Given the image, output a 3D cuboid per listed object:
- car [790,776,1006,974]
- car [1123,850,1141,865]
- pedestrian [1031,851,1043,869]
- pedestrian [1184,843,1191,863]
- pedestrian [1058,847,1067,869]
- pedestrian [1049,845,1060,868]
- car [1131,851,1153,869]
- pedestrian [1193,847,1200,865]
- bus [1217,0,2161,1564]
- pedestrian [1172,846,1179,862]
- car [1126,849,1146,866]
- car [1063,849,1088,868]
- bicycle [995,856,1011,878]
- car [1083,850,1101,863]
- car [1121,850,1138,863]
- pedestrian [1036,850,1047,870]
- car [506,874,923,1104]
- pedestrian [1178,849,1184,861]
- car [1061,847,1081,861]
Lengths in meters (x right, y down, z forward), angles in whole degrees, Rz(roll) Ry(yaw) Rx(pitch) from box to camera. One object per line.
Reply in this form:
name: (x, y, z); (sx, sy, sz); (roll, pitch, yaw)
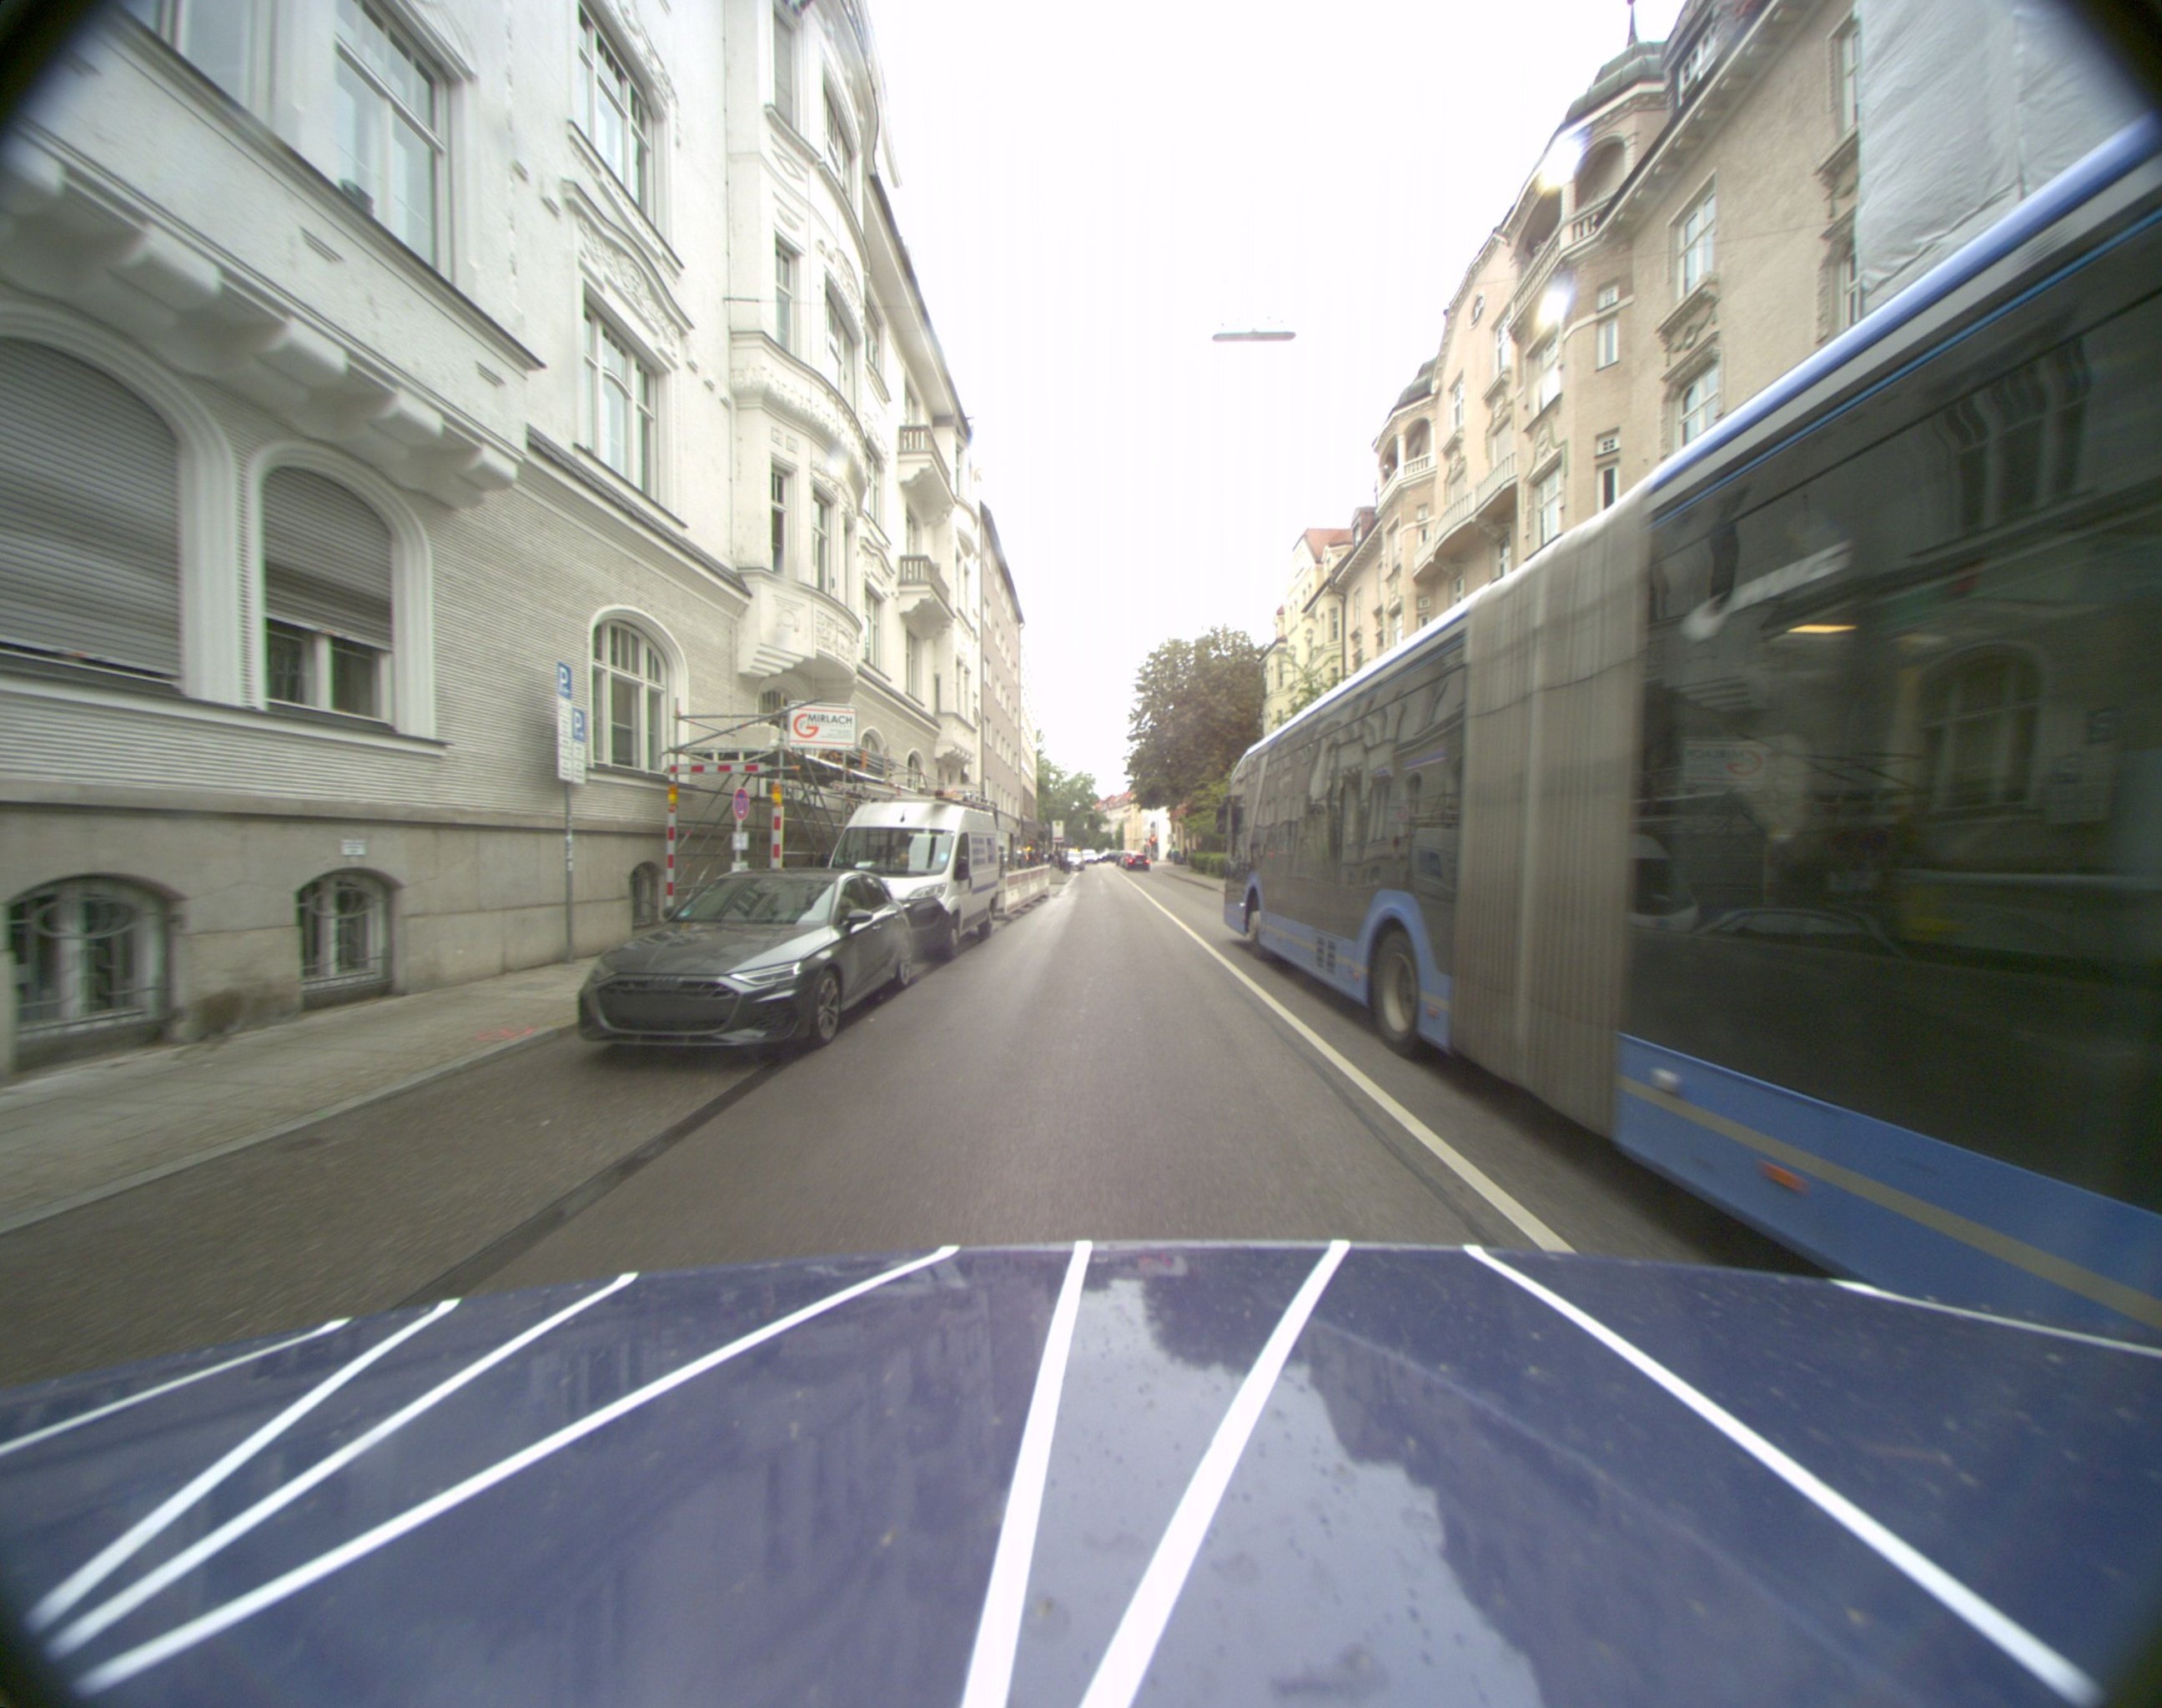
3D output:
car: (-2.786, 0.265, 13.118); (2.081, 2.673, 5.446); (1, 1, 4)
car: (5.174, 0.355, 76.783); (1.723, 1.398, 4.001); (0, 1, 6)
pedestrian: (-3.381, 0.460, 58.502); (0.837, 1.399, 0.866); (0, 1, -2)
pedestrian: (10.414, -0.059, 74.525); (0.625, 1.945, 0.662); (0, 1, 2)
pedestrian: (-1.483, 0.322, 60.900); (0.745, 1.706, 0.616); (0, 1, 2)
pedestrian: (-2.160, 0.182, 60.929); (0.826, 1.850, 0.820); (-1, 1, 0)
car: (5.139, 0.477, 63.948); (1.723, 1.398, 4.001); (0, 1, 6)
pedestrian: (10.364, 0.157, 68.176); (0.625, 1.611, 0.662); (0, 1, 2)
bus: (3.723, -0.264, 4.178); (3.179, 3.193, 18.057); (1, 1, 2)
pedestrian: (9.716, 0.020, 77.860); (0.625, 1.579, 0.662); (0, 1, 2)
car: (5.181, 0.267, 71.116); (1.723, 1.536, 4.001); (0, 1, 6)
car: (-0.463, 0.344, 66.124); (1.723, 1.622, 4.001); (0, 1, 6)
bicycle: (-4.187, 0.696, 41.018); (0.593, 1.111, 1.845); (0, 1, 2)
car: (1.388, 0.301, 94.797); (1.918, 1.648, 4.603); (0, 1, 5)
car: (5.427, 0.243, 84.256); (1.723, 1.398, 4.001); (0, 1, 6)
pedestrian: (-3.190, 0.494, 61.381); (0.837, 1.580, 0.806); (0, 1, -2)
car: (-2.911, 0.965, 7.236); (1.792, 1.399, 4.244); (0, 0, 2)
pedestrian: (10.189, 0.083, 77.517); (0.546, 1.237, 0.577); (0, 1, 2)
car: (-1.107, -0.016, 86.406); (1.723, 1.622, 4.001); (0, 1, 6)
